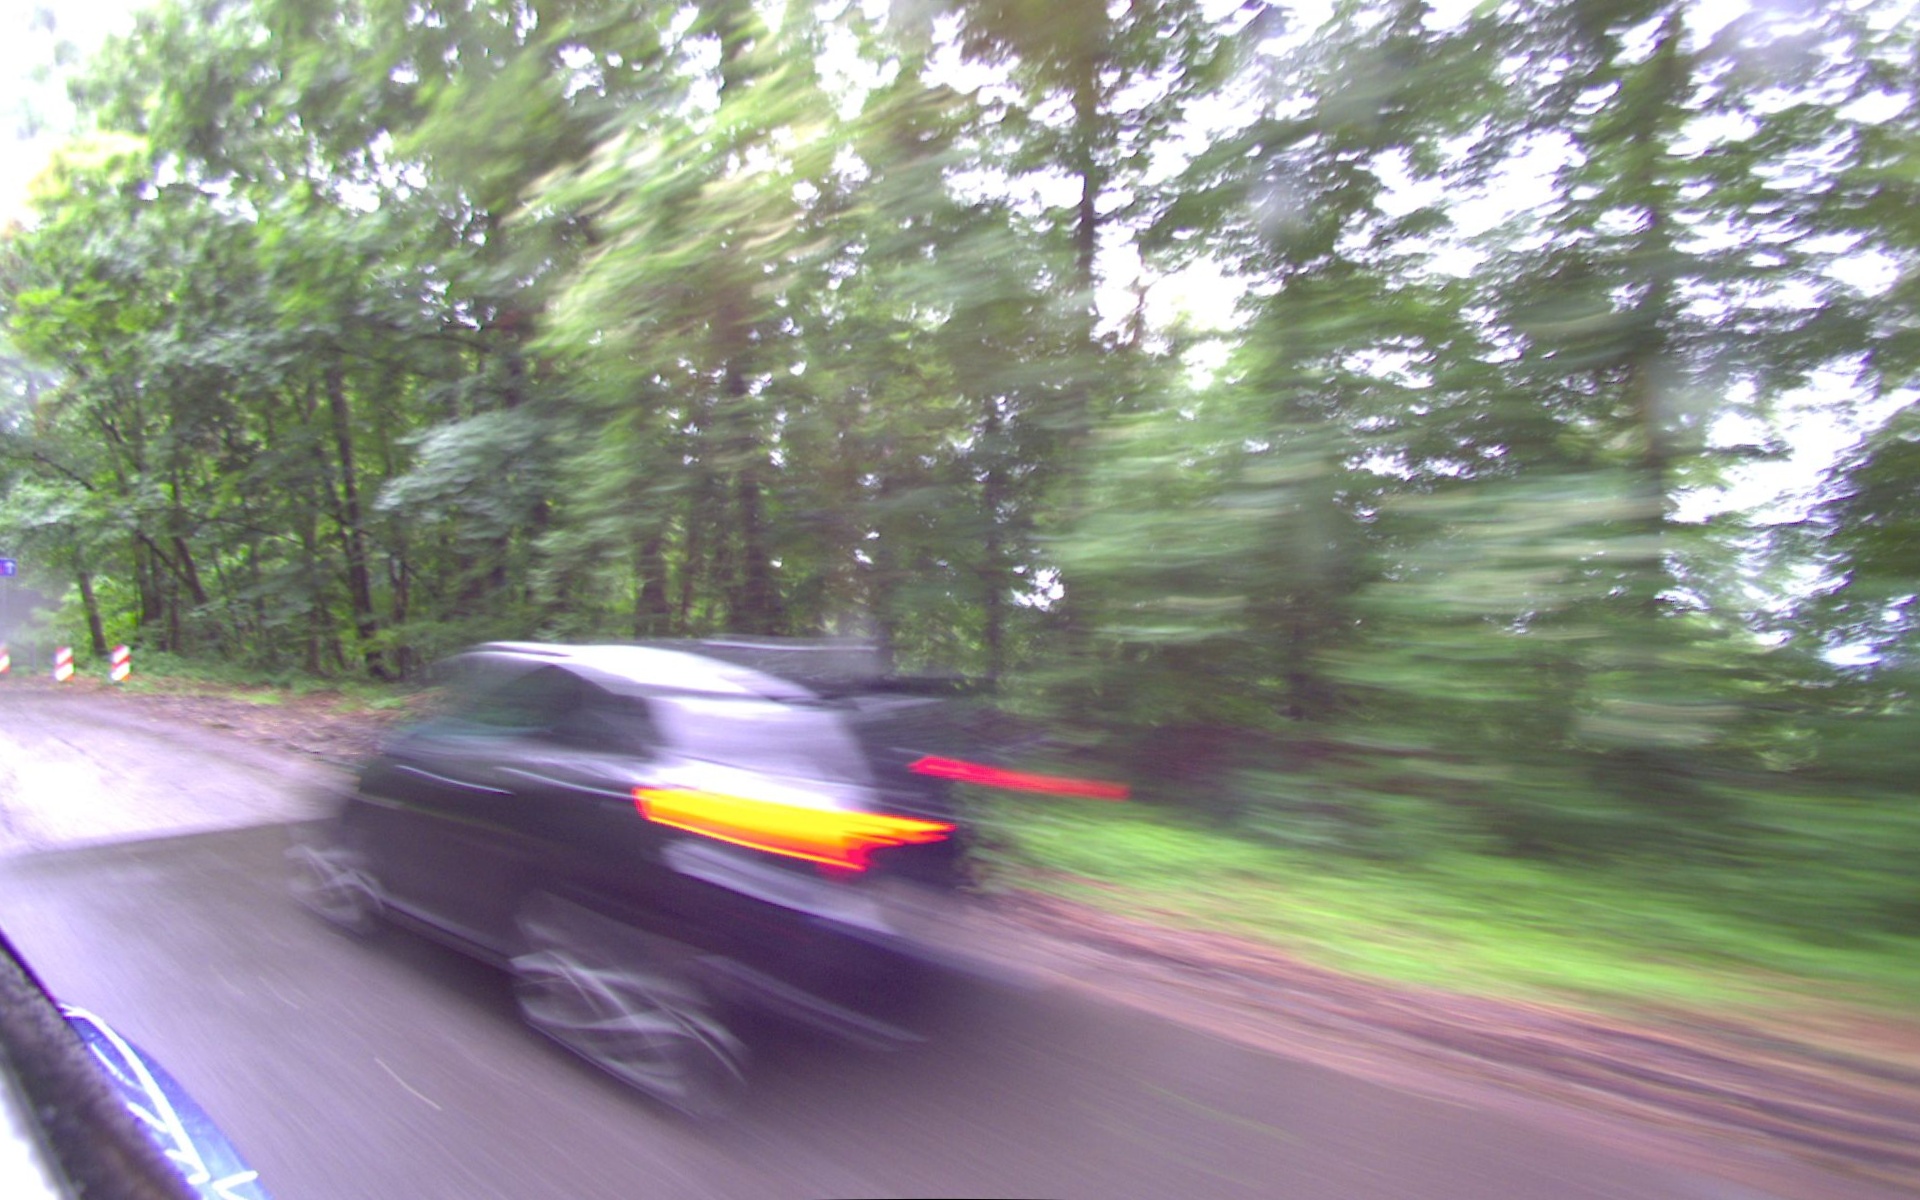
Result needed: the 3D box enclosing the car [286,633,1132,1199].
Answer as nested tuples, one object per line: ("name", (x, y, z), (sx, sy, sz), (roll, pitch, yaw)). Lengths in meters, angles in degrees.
("car", (-1.368, 0.930, 4.465), (3.889, 1.487, 1.696), (-1, -4, 42))
